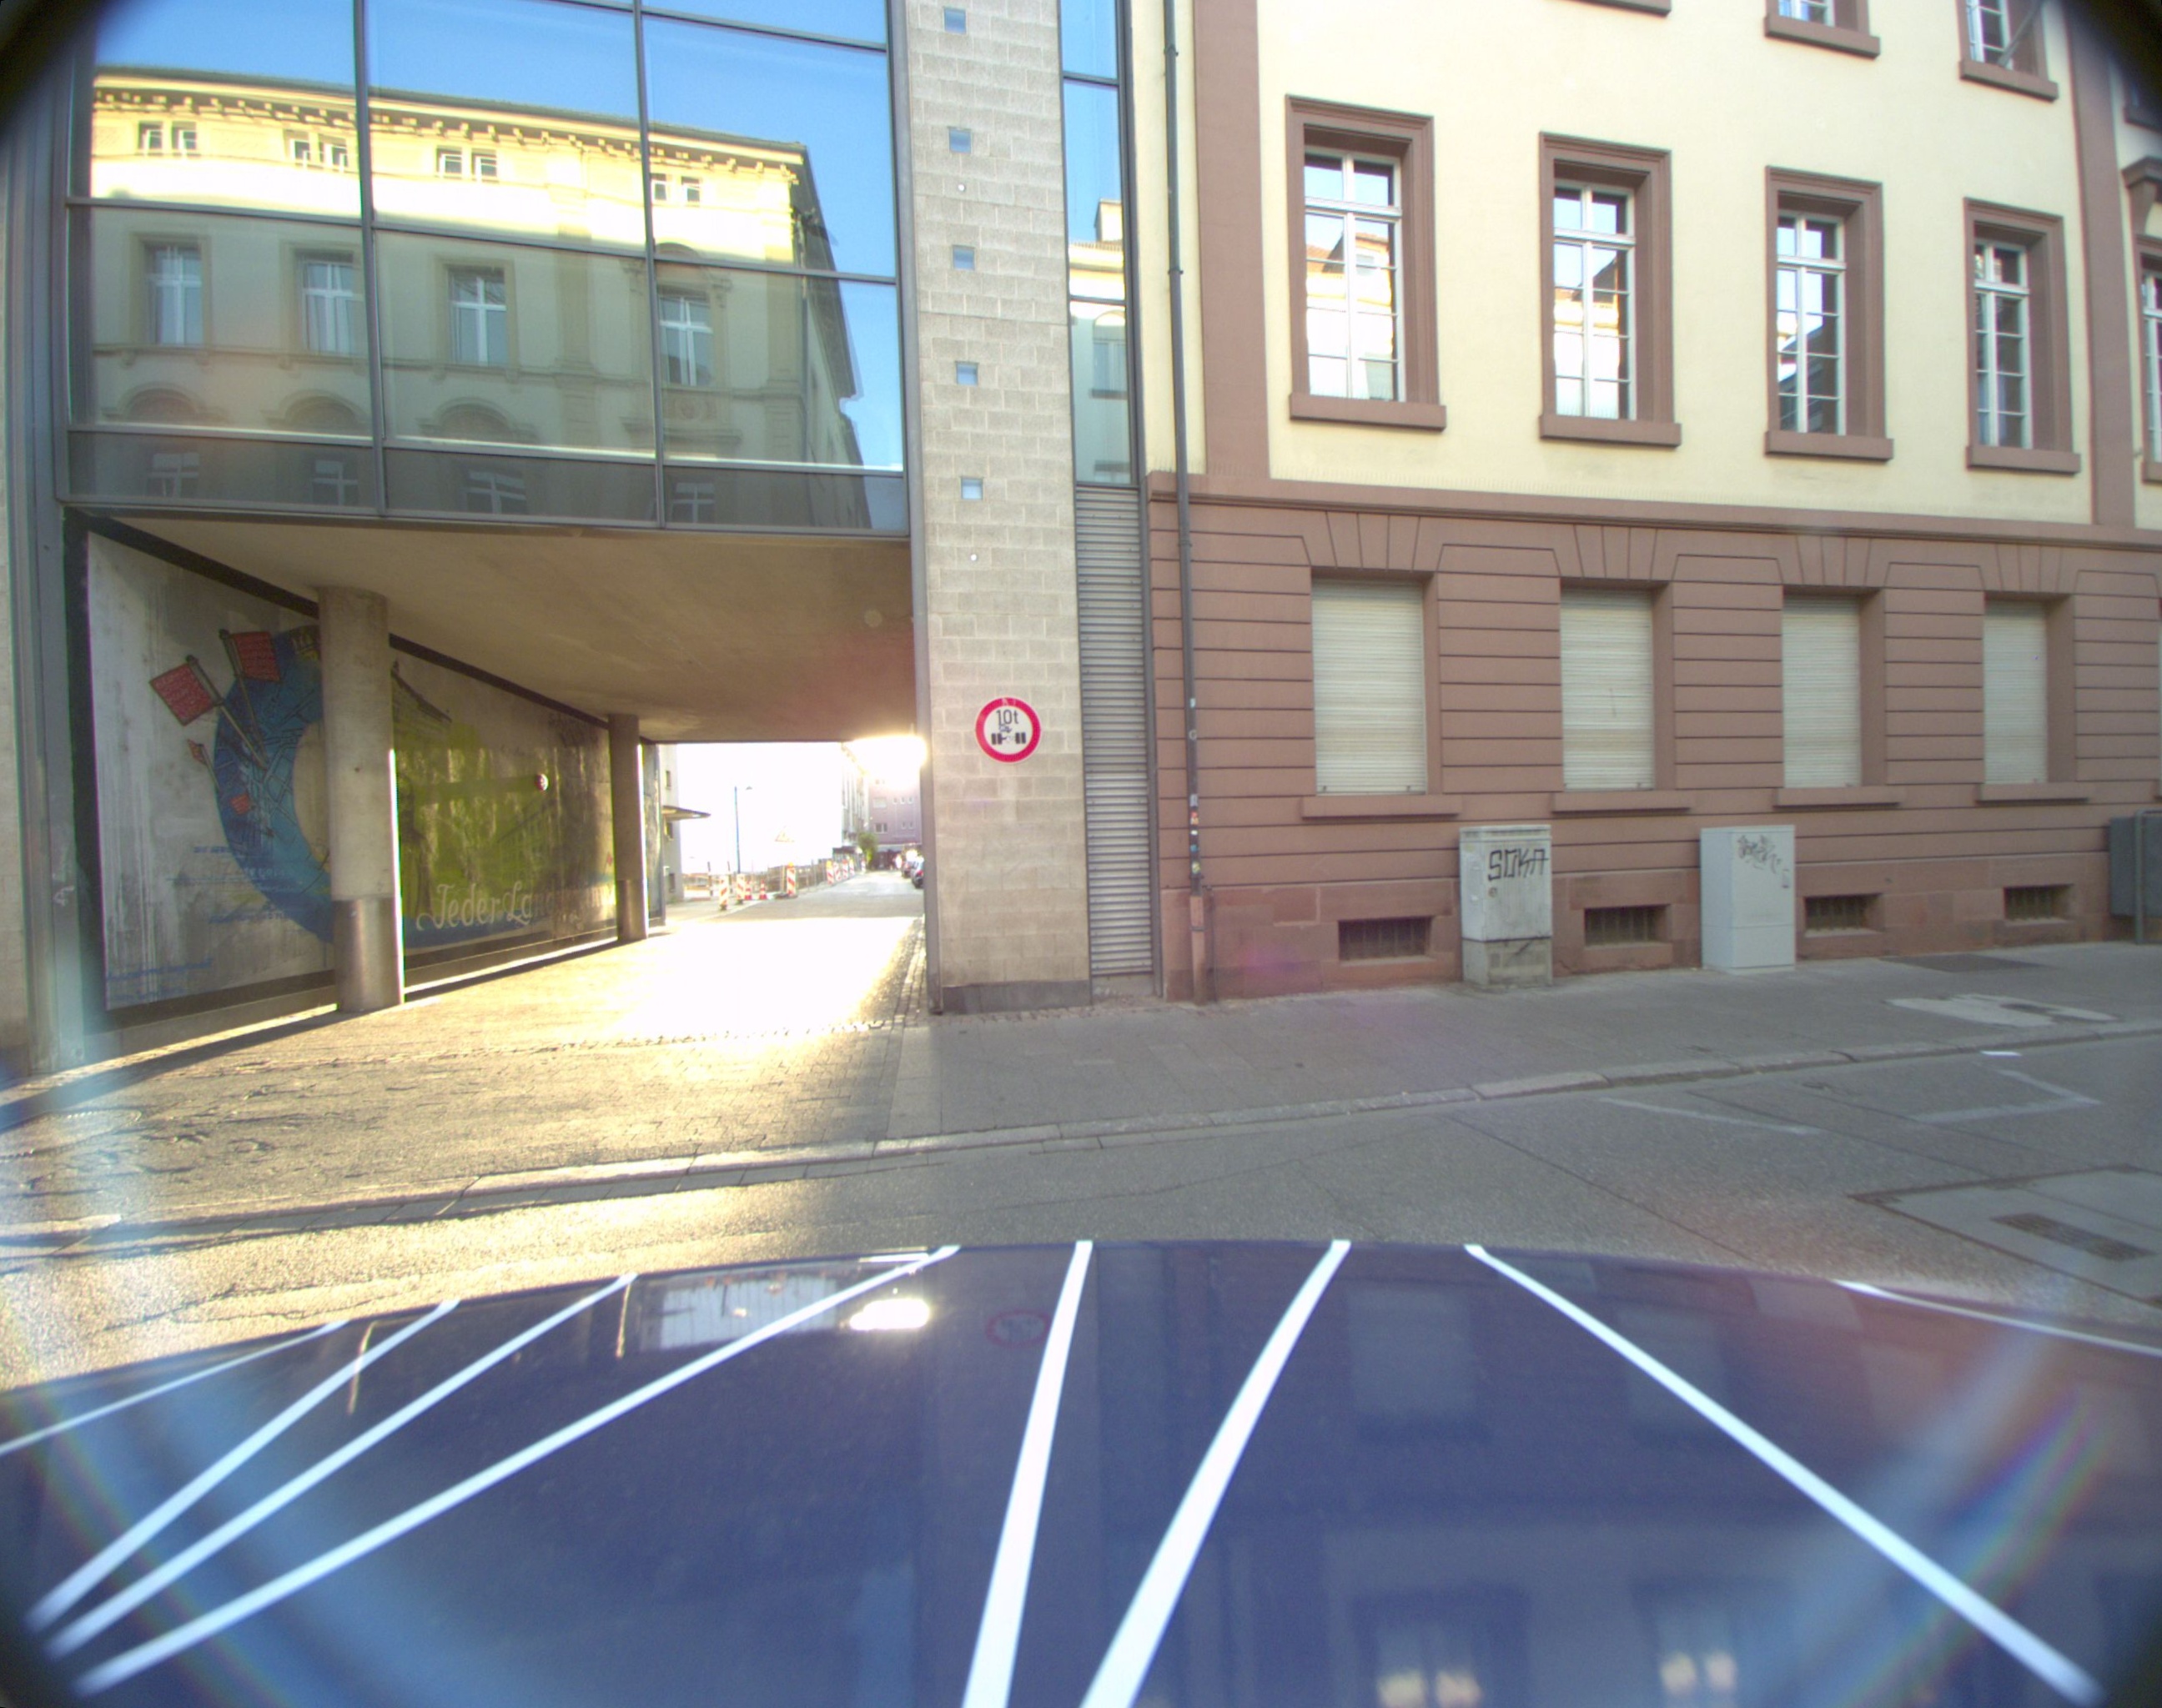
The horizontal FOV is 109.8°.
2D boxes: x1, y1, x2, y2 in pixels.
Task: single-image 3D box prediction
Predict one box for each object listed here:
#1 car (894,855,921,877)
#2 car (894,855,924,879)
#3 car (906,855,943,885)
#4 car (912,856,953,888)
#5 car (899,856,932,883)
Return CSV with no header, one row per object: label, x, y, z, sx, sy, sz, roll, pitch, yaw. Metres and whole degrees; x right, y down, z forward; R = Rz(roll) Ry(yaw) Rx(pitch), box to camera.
car,-12.735,0.844,55.758,1.603,1.484,3.439,-2,1,-18
car,-11.598,0.815,51.027,1.603,1.484,3.439,-2,1,-18
car,-8.599,0.827,41.558,1.603,1.484,3.439,-2,1,-18
car,-7.489,0.861,38.080,1.603,1.484,3.439,-2,1,-18
car,-9.919,0.911,45.386,1.603,1.484,3.439,-2,1,-18
